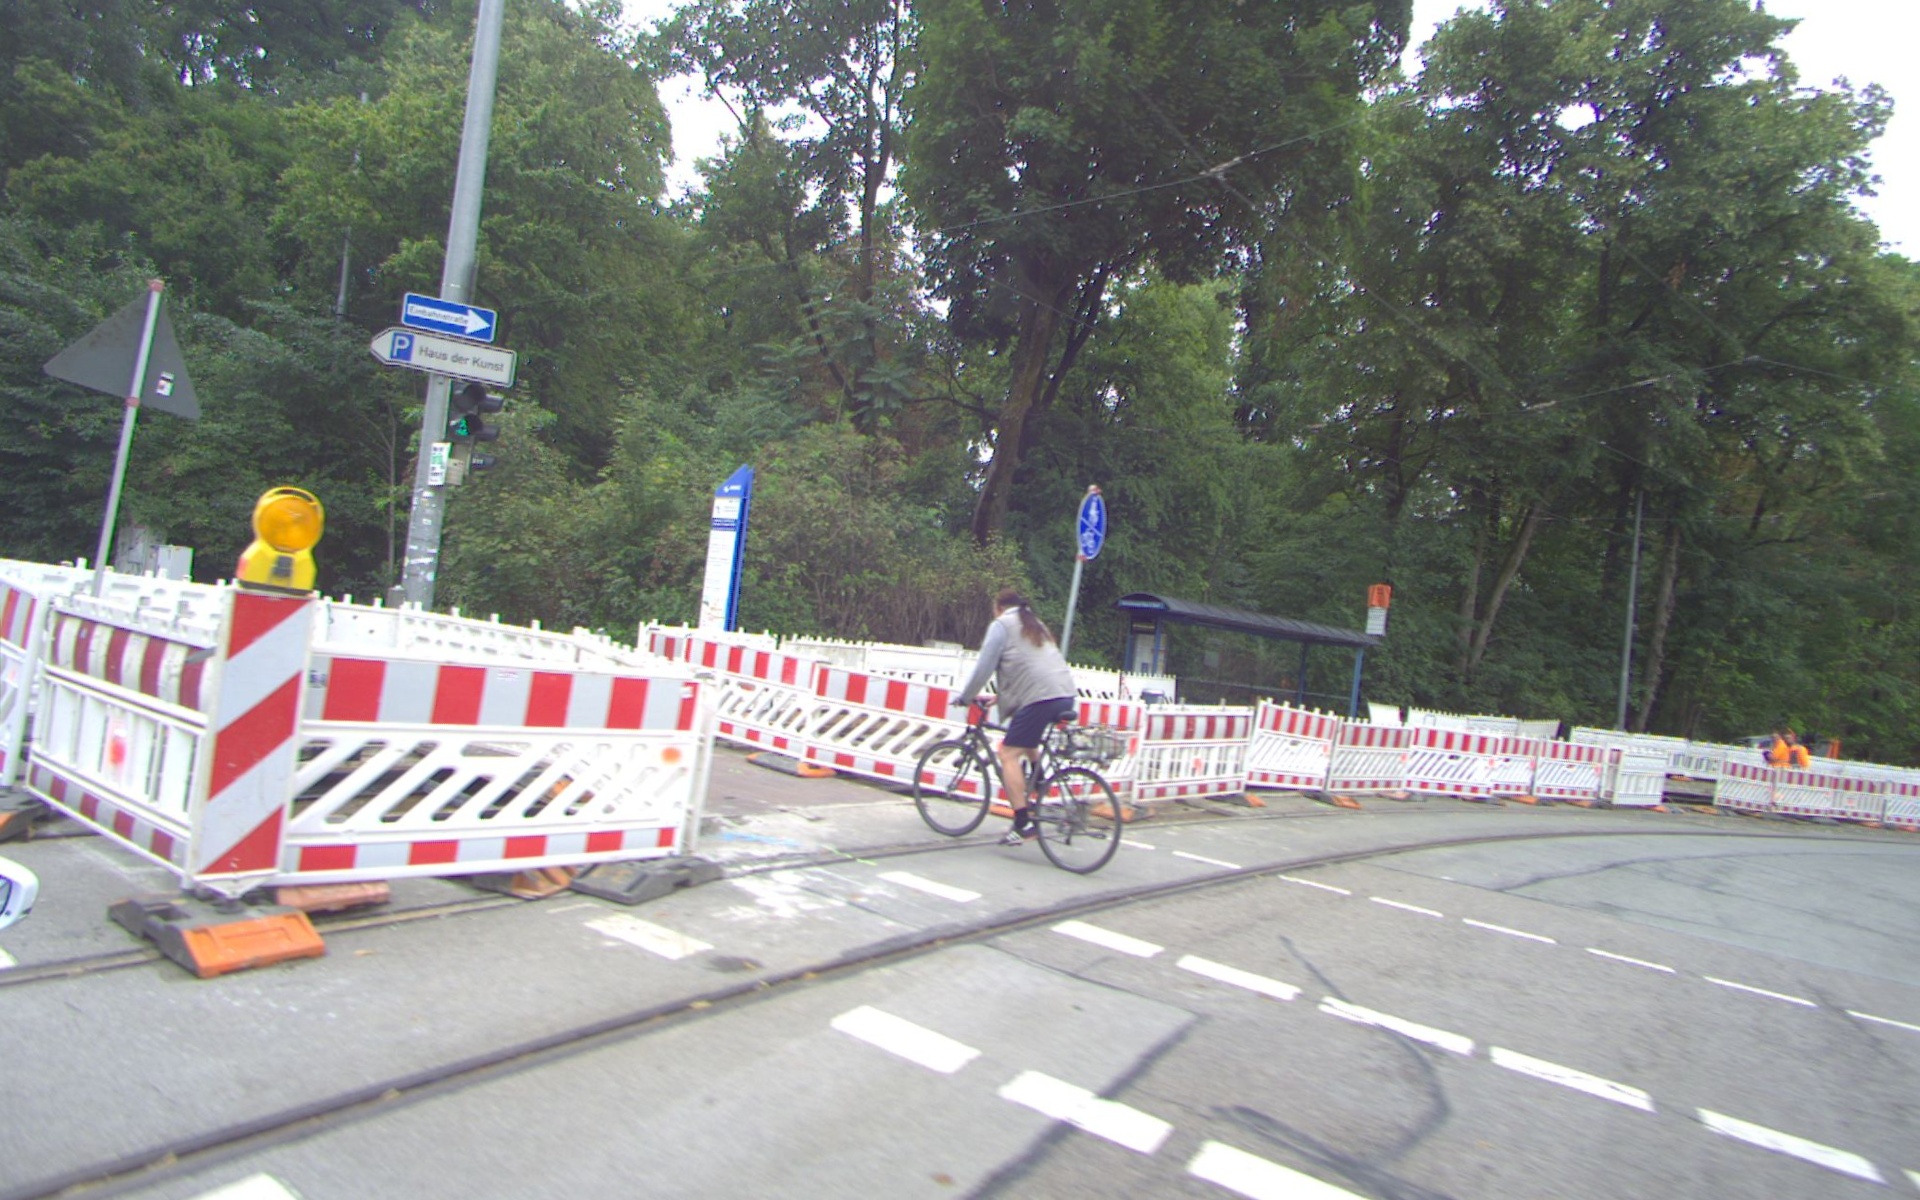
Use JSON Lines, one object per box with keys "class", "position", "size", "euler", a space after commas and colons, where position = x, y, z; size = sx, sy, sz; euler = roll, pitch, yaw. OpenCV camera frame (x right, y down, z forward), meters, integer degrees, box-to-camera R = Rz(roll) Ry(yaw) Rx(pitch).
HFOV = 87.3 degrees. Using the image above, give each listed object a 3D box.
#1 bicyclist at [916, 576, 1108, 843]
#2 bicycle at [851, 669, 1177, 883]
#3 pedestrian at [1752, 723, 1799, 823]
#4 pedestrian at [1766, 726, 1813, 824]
{"class": "bicyclist", "position": [0.371, 0.749, 7.078], "size": [0.886, 1.685, 0.757], "euler": [5, -3, 37]}
{"class": "bicycle", "position": [0.327, 1.162, 7.058], "size": [2.130, 1.069, 0.739], "euler": [5, -4, 37]}
{"class": "pedestrian", "position": [18.335, 3.885, 22.622], "size": [0.683, 2.132, 0.557], "euler": [9, -3, -39]}
{"class": "pedestrian", "position": [19.187, 4.047, 23.255], "size": [0.683, 2.132, 0.558], "euler": [9, -3, -37]}
